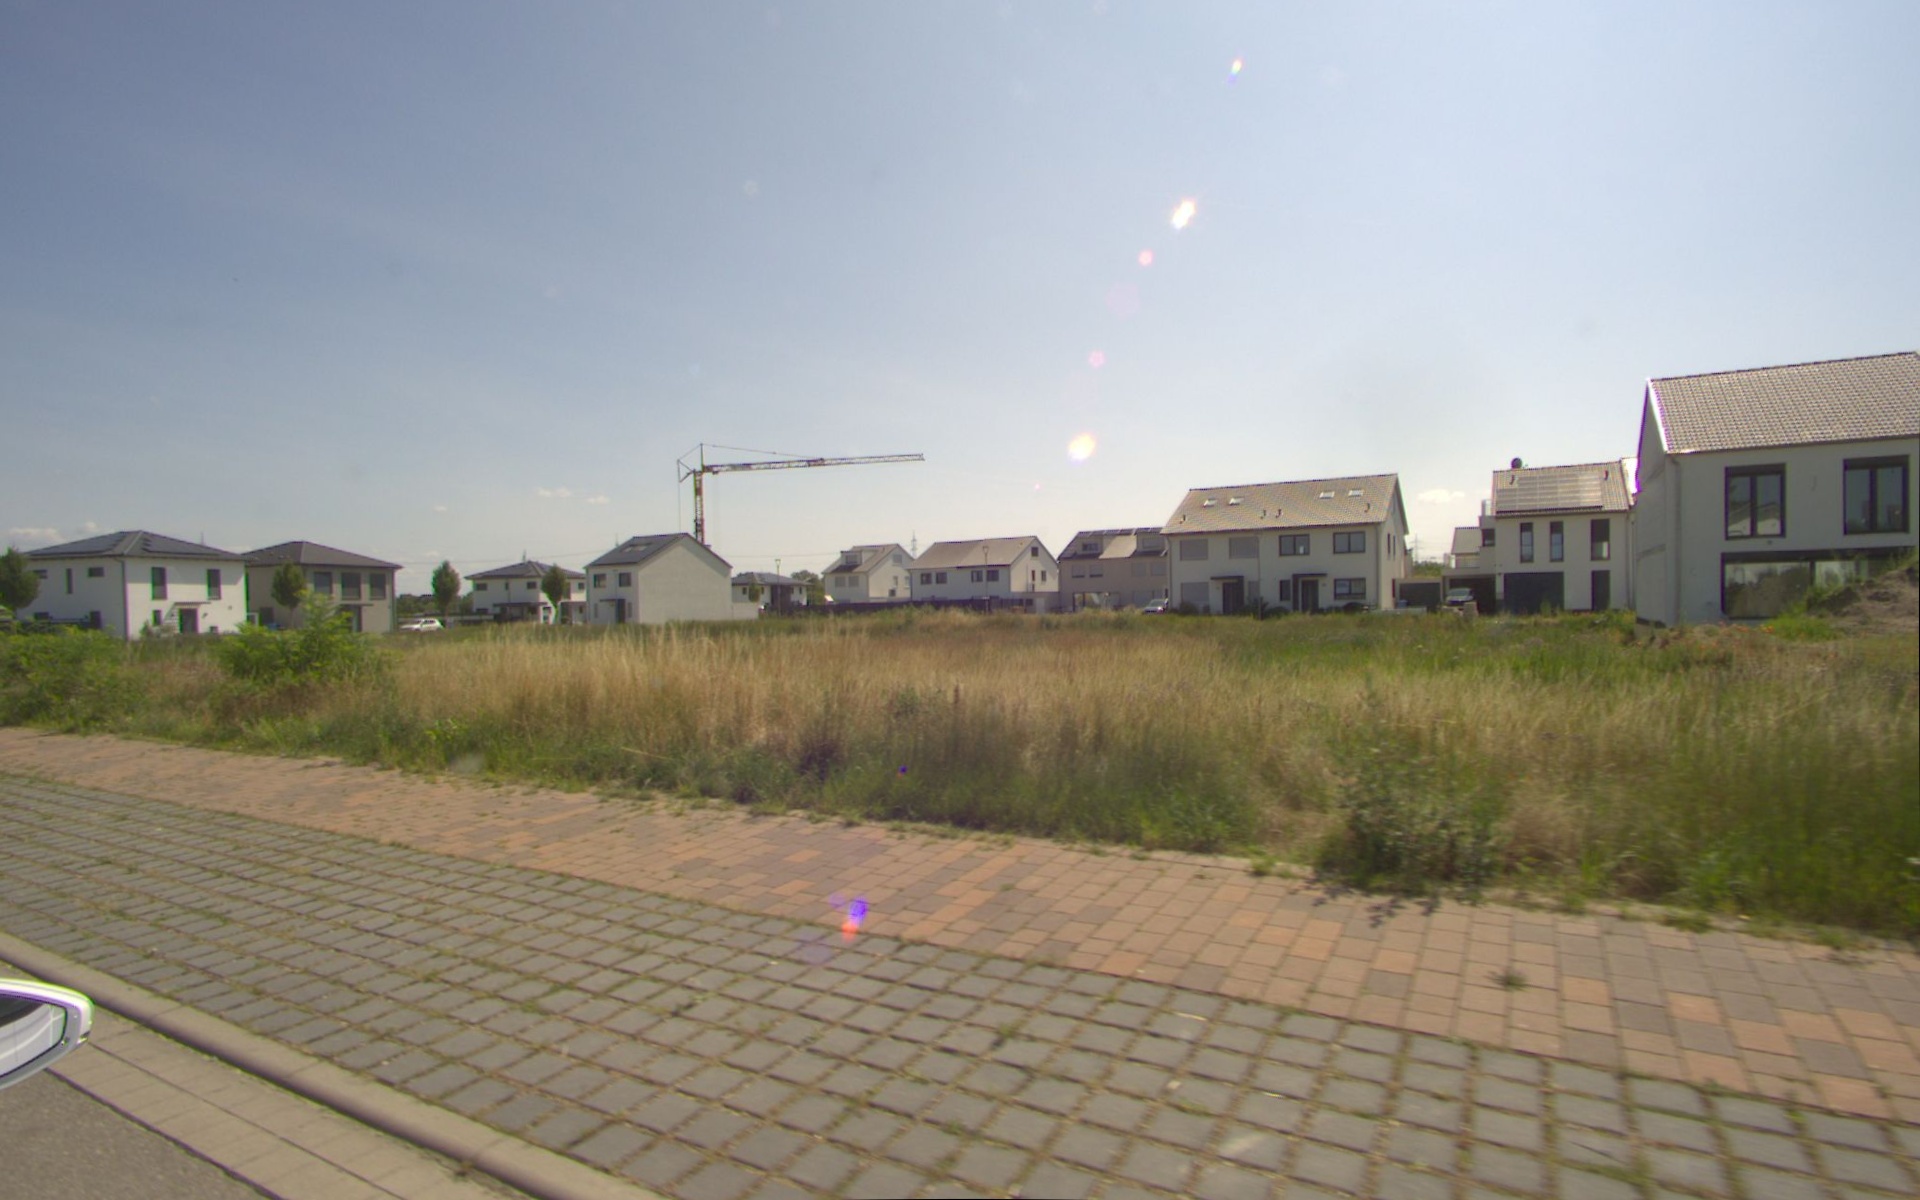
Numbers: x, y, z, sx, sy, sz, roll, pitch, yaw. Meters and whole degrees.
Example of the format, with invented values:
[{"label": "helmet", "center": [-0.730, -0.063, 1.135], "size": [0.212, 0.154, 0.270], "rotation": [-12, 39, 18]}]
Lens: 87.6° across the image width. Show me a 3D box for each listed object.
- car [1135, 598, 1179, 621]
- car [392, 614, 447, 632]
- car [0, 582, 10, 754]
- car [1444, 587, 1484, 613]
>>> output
[{"label": "car", "center": [14.497, 0.698, 73.435], "size": [1.790, 1.595, 3.976], "rotation": [-1, 0, 34]}, {"label": "car", "center": [-45.661, 1.914, 84.686], "size": [1.719, 1.416, 3.994], "rotation": [-2, -1, 17]}, {"label": "car", "center": [-11.725, 0.714, 10.192], "size": [4.367, 1.686, 1.774], "rotation": [-1, 2, 30]}, {"label": "car", "center": [31.450, 0.008, 62.466], "size": [1.790, 1.532, 3.976], "rotation": [-1, 0, 34]}]
